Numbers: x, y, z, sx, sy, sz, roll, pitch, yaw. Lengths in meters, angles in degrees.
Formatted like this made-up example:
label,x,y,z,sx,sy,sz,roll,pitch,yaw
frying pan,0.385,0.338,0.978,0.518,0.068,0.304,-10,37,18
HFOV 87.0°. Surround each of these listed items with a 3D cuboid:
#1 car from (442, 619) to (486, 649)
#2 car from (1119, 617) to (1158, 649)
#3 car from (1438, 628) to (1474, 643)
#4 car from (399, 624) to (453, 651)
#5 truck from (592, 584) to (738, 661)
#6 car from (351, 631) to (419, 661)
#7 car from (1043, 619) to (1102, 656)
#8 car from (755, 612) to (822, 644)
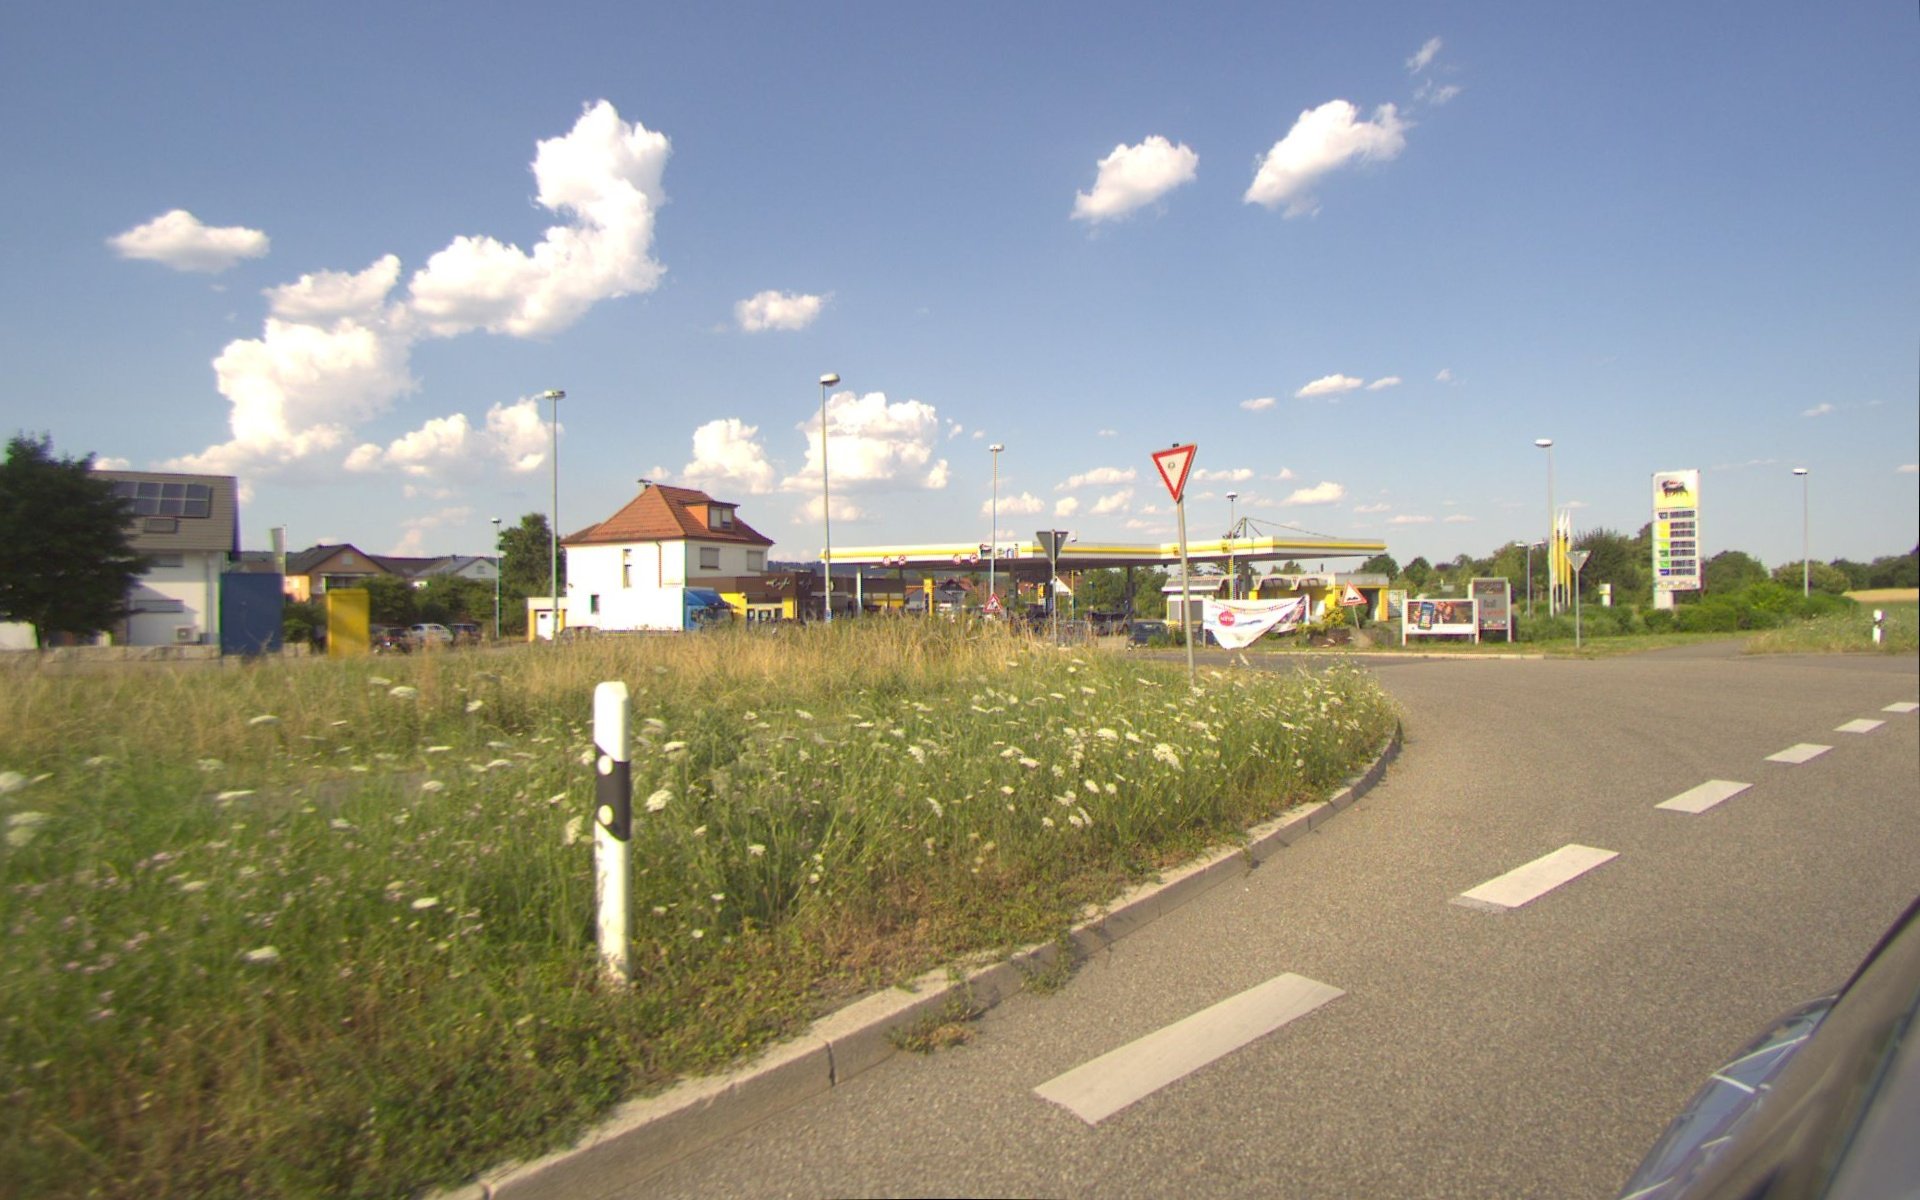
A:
label,x,y,z,sx,sy,sz,roll,pitch,yaw
car,-34.015,2.345,69.368,1.819,1.823,3.588,-1,-2,-42
car,6.547,1.193,36.960,1.255,1.039,2.493,-3,-2,12
car,15.355,1.091,31.351,0.595,0.455,1.081,-2,-2,2
car,-35.025,2.469,66.342,3.525,1.596,1.574,-4,-2,32
truck,-16.139,1.255,55.195,7.932,3.736,2.740,-4,-2,28
car,-30.563,2.440,53.781,3.574,1.412,1.827,-4,-2,36
car,4.240,1.359,37.648,1.578,1.217,3.897,-2,-1,15
car,-9.498,1.523,56.323,1.825,1.656,4.396,-4,-2,18
